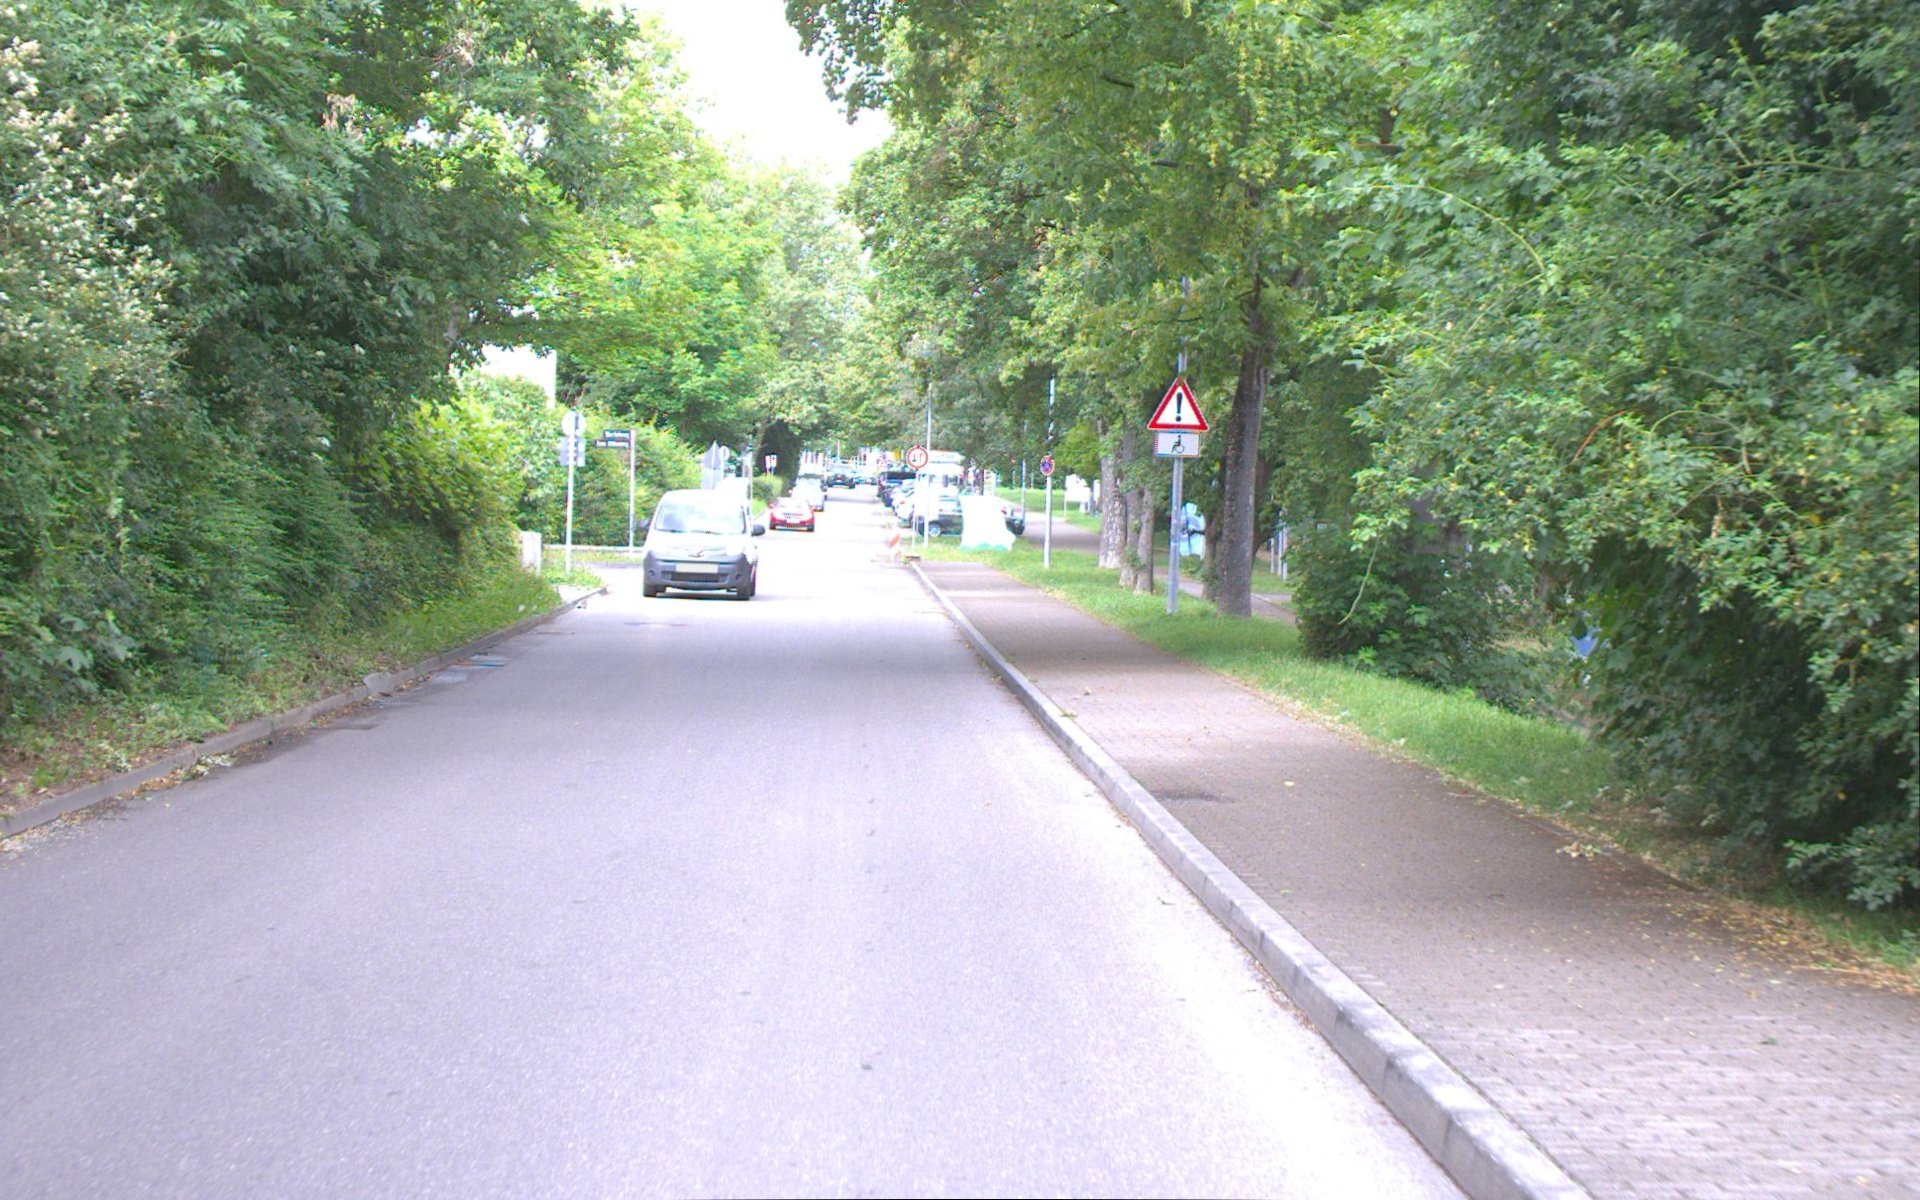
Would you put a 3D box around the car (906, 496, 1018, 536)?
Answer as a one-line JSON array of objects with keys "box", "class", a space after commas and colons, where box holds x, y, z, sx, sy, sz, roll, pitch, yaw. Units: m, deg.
[{"box": [0.056, -3.107, 127.484, 4.062, 1.429, 2.000, 1, 1, -2], "class": "car"}]

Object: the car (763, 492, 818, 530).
[{"box": [-6.624, -3.486, 133.721, 1.750, 1.331, 4.067, 2, 2, -8], "class": "car"}]

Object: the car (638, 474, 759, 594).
[{"box": [-4.342, -1.089, 57.610, 1.873, 1.907, 4.432, 1, 1, -3], "class": "car"}]
